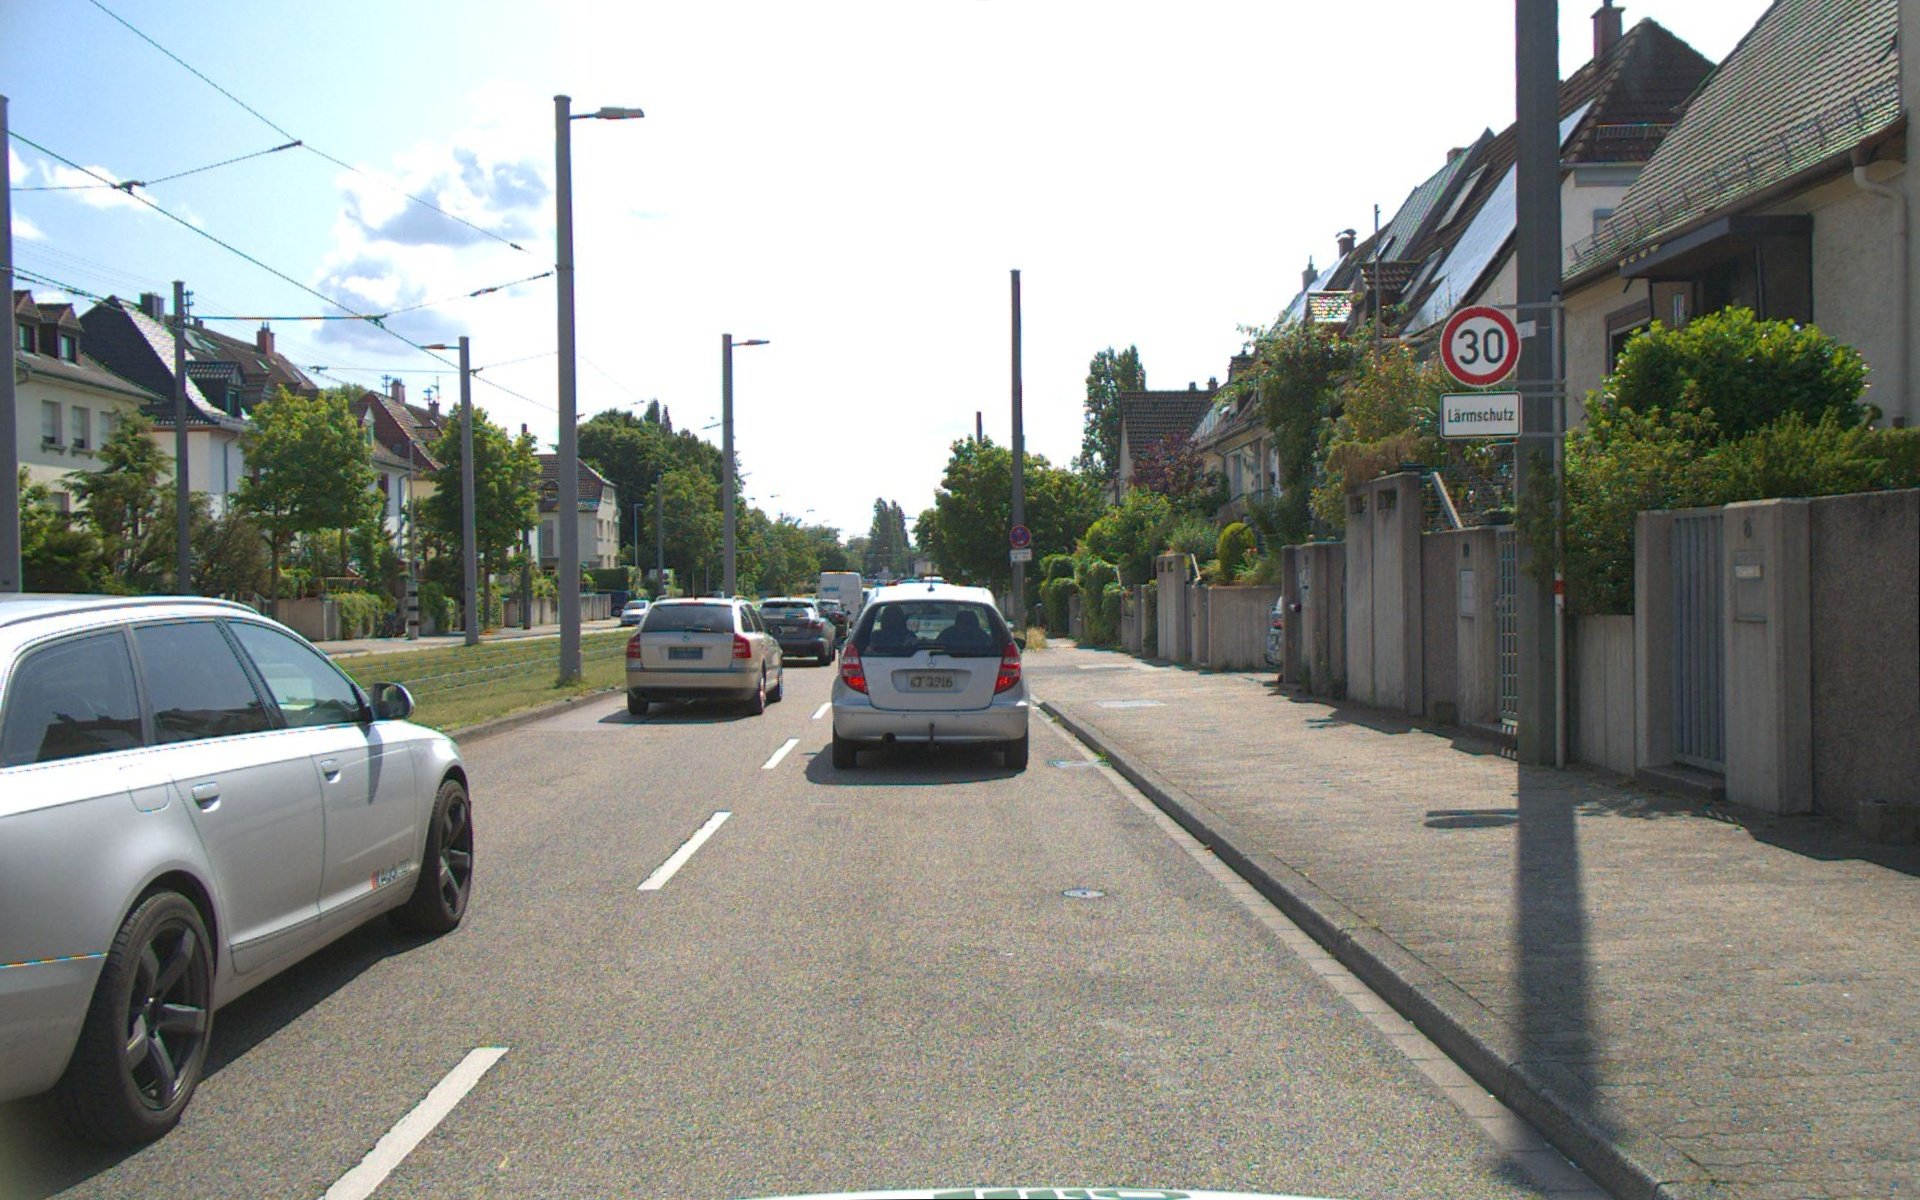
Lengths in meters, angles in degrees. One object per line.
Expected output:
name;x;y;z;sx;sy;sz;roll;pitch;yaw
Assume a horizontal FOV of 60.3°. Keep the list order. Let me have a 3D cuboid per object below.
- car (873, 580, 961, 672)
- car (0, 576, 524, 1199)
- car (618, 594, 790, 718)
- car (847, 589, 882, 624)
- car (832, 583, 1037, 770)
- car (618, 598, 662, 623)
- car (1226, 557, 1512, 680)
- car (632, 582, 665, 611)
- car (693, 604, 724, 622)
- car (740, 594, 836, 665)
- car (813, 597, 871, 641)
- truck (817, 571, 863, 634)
car;-0.946;0.512;34.547;1.695;1.793;4.014;1;0;-4
car;-2.978;0.695;5.648;1.758;1.497;4.721;0;0;-1
car;-3.294;0.671;21.991;1.696;1.474;4.122;1;0;-1
car;-5.960;0.378;104.086;1.877;2.113;4.562;1;0;1
car;-0.294;0.637;15.810;1.695;1.543;4.014;1;0;-2
car;-20.387;0.640;105.417;1.877;1.503;4.562;1;0;1
car;6.396;0.268;26.145;3.909;1.713;1.998;-2;0;-5
car;-26.213;-0.280;139.271;1.877;2.371;4.562;1;0;1
car;-21.364;1.095;140.568;1.877;1.503;4.562;1;0;1
car;-3.875;0.633;37.876;1.878;1.503;4.560;1;0;-2
car;-3.931;0.604;55.653;1.815;1.412;4.511;1;0;-3
truck;-5.175;0.089;71.835;1.815;2.597;5.851;1;0;-3
